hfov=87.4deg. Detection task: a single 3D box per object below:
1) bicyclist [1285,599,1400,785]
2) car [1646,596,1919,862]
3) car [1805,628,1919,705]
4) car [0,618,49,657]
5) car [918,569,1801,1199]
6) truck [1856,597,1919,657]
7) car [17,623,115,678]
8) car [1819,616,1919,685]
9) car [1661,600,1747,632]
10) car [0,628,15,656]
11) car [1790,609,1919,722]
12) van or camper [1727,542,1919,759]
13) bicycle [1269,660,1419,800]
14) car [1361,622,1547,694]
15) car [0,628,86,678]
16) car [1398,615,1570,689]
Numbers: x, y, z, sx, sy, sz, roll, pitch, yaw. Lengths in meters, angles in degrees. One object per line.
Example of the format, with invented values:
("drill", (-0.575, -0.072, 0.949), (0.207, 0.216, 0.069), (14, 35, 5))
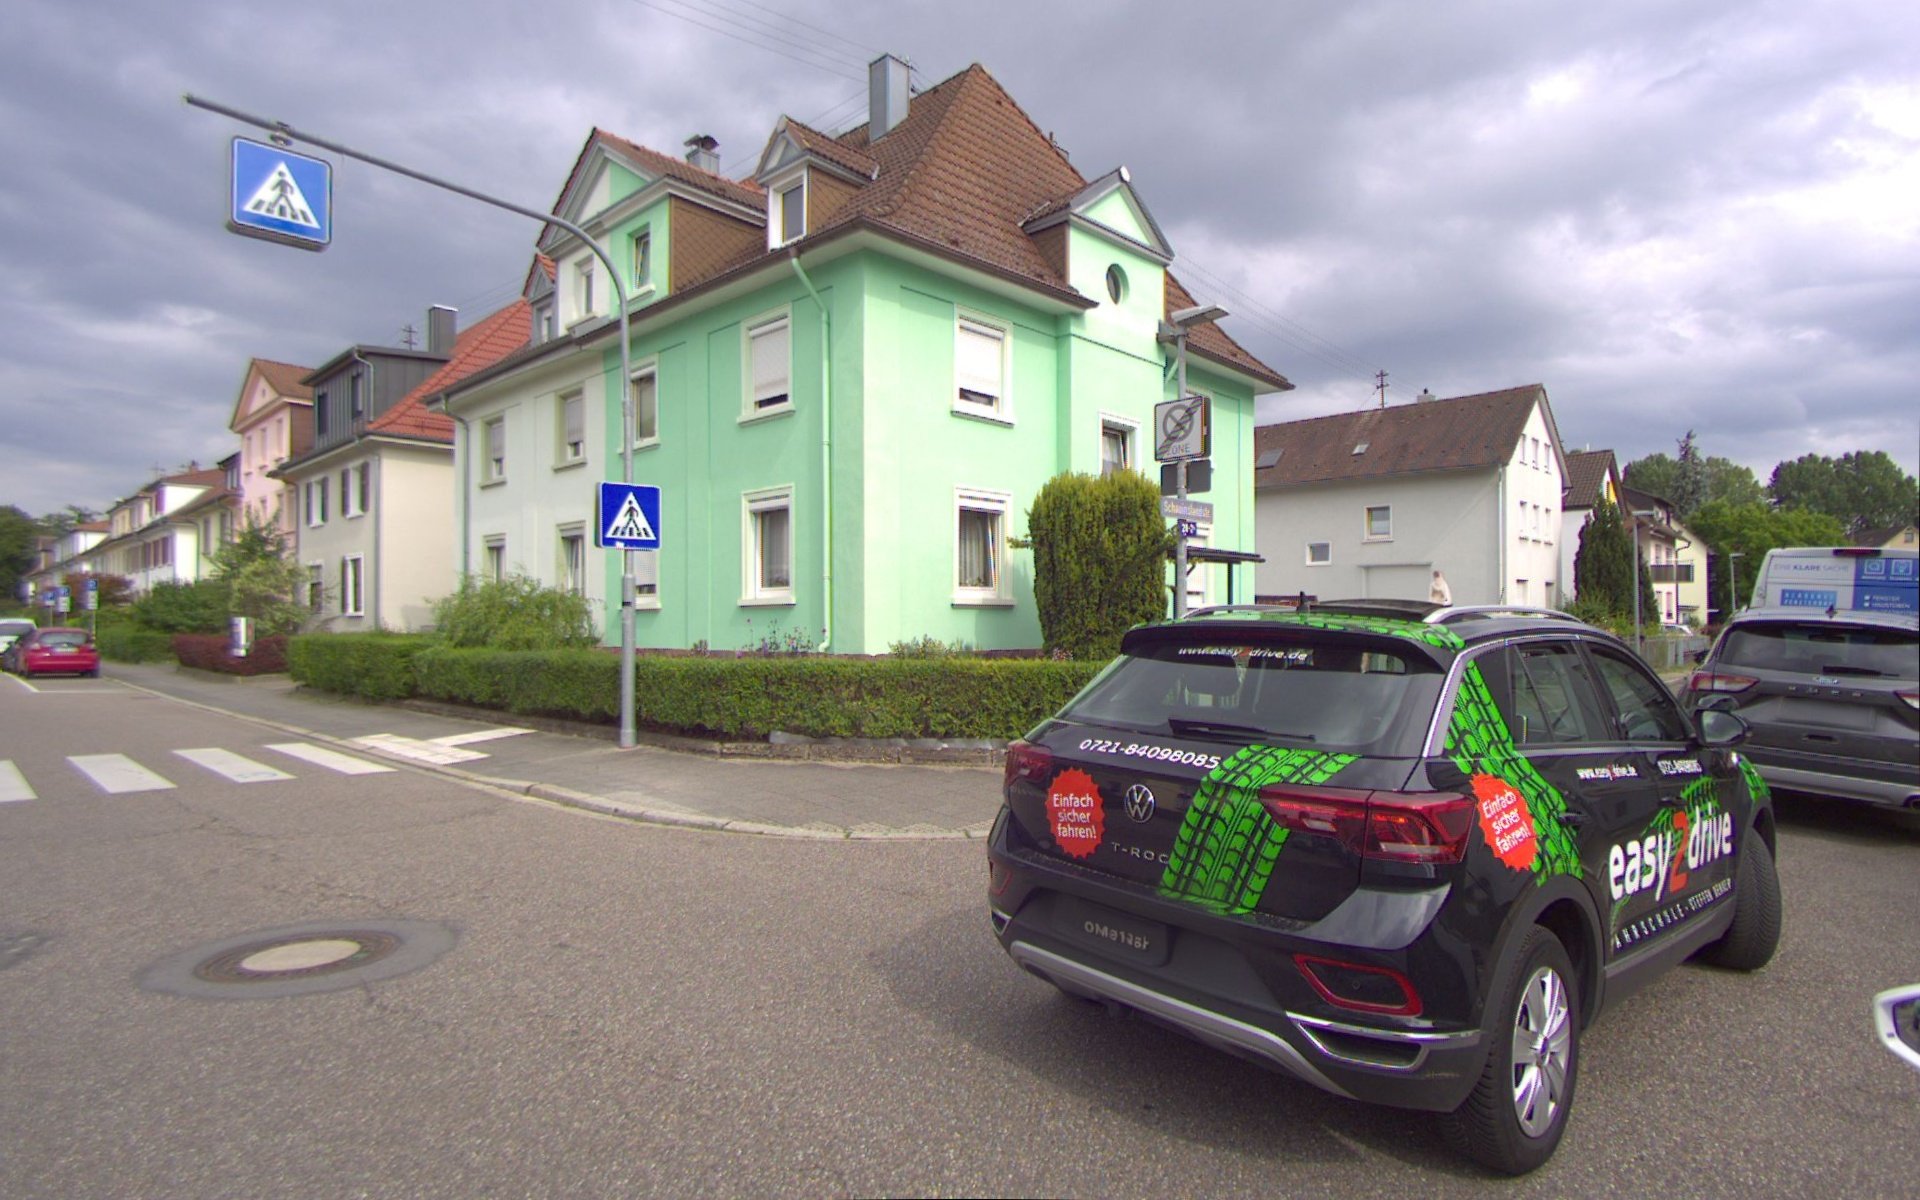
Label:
("bicyclist", (3.714, 0.856, 9.732), (0.689, 1.688, 0.969), (-3, -3, 44))
("car", (7.351, 0.885, 8.596), (1.971, 1.749, 4.320), (-1, -1, 41))
("car", (19.661, 1.365, 21.804), (1.971, 1.475, 4.320), (-1, -1, 41))
("car", (-47.687, 1.866, 50.896), (3.945, 1.929, 1.988), (-1, -1, 44))
("car", (1.946, 0.771, 4.138), (4.013, 1.540, 1.800), (2, -2, -42))
("truck", (43.865, 1.270, 47.524), (2.106, 2.692, 4.561), (-1, -1, 41))
("car", (-27.918, 1.527, 31.342), (3.945, 1.595, 1.988), (-1, -2, 44))
("car", (25.090, 1.327, 27.810), (1.971, 1.772, 4.320), (-1, -1, 41))
("car", (43.918, 0.948, 59.313), (3.941, 1.795, 1.861), (-1, -3, 41))
("car", (-58.268, 2.511, 60.359), (3.945, 1.595, 1.988), (-1, -2, 44))
("car", (16.280, 1.080, 18.079), (1.971, 1.795, 4.320), (-1, -1, 41))
("van or camper", (12.226, 0.621, 13.838), (2.168, 2.491, 5.026), (-1, -1, 43))
("bicycle", (3.774, 1.203, 9.799), (0.697, 1.167, 1.862), (-2, -2, 43))
("car", (11.193, 1.267, 22.861), (3.529, 1.520, 1.580), (-1, -2, 40))
("car", (-31.777, 1.780, 34.759), (3.945, 1.595, 1.988), (-1, -2, 44))
("car", (12.958, 1.250, 24.932), (3.529, 1.689, 1.580), (-1, -2, 40))
